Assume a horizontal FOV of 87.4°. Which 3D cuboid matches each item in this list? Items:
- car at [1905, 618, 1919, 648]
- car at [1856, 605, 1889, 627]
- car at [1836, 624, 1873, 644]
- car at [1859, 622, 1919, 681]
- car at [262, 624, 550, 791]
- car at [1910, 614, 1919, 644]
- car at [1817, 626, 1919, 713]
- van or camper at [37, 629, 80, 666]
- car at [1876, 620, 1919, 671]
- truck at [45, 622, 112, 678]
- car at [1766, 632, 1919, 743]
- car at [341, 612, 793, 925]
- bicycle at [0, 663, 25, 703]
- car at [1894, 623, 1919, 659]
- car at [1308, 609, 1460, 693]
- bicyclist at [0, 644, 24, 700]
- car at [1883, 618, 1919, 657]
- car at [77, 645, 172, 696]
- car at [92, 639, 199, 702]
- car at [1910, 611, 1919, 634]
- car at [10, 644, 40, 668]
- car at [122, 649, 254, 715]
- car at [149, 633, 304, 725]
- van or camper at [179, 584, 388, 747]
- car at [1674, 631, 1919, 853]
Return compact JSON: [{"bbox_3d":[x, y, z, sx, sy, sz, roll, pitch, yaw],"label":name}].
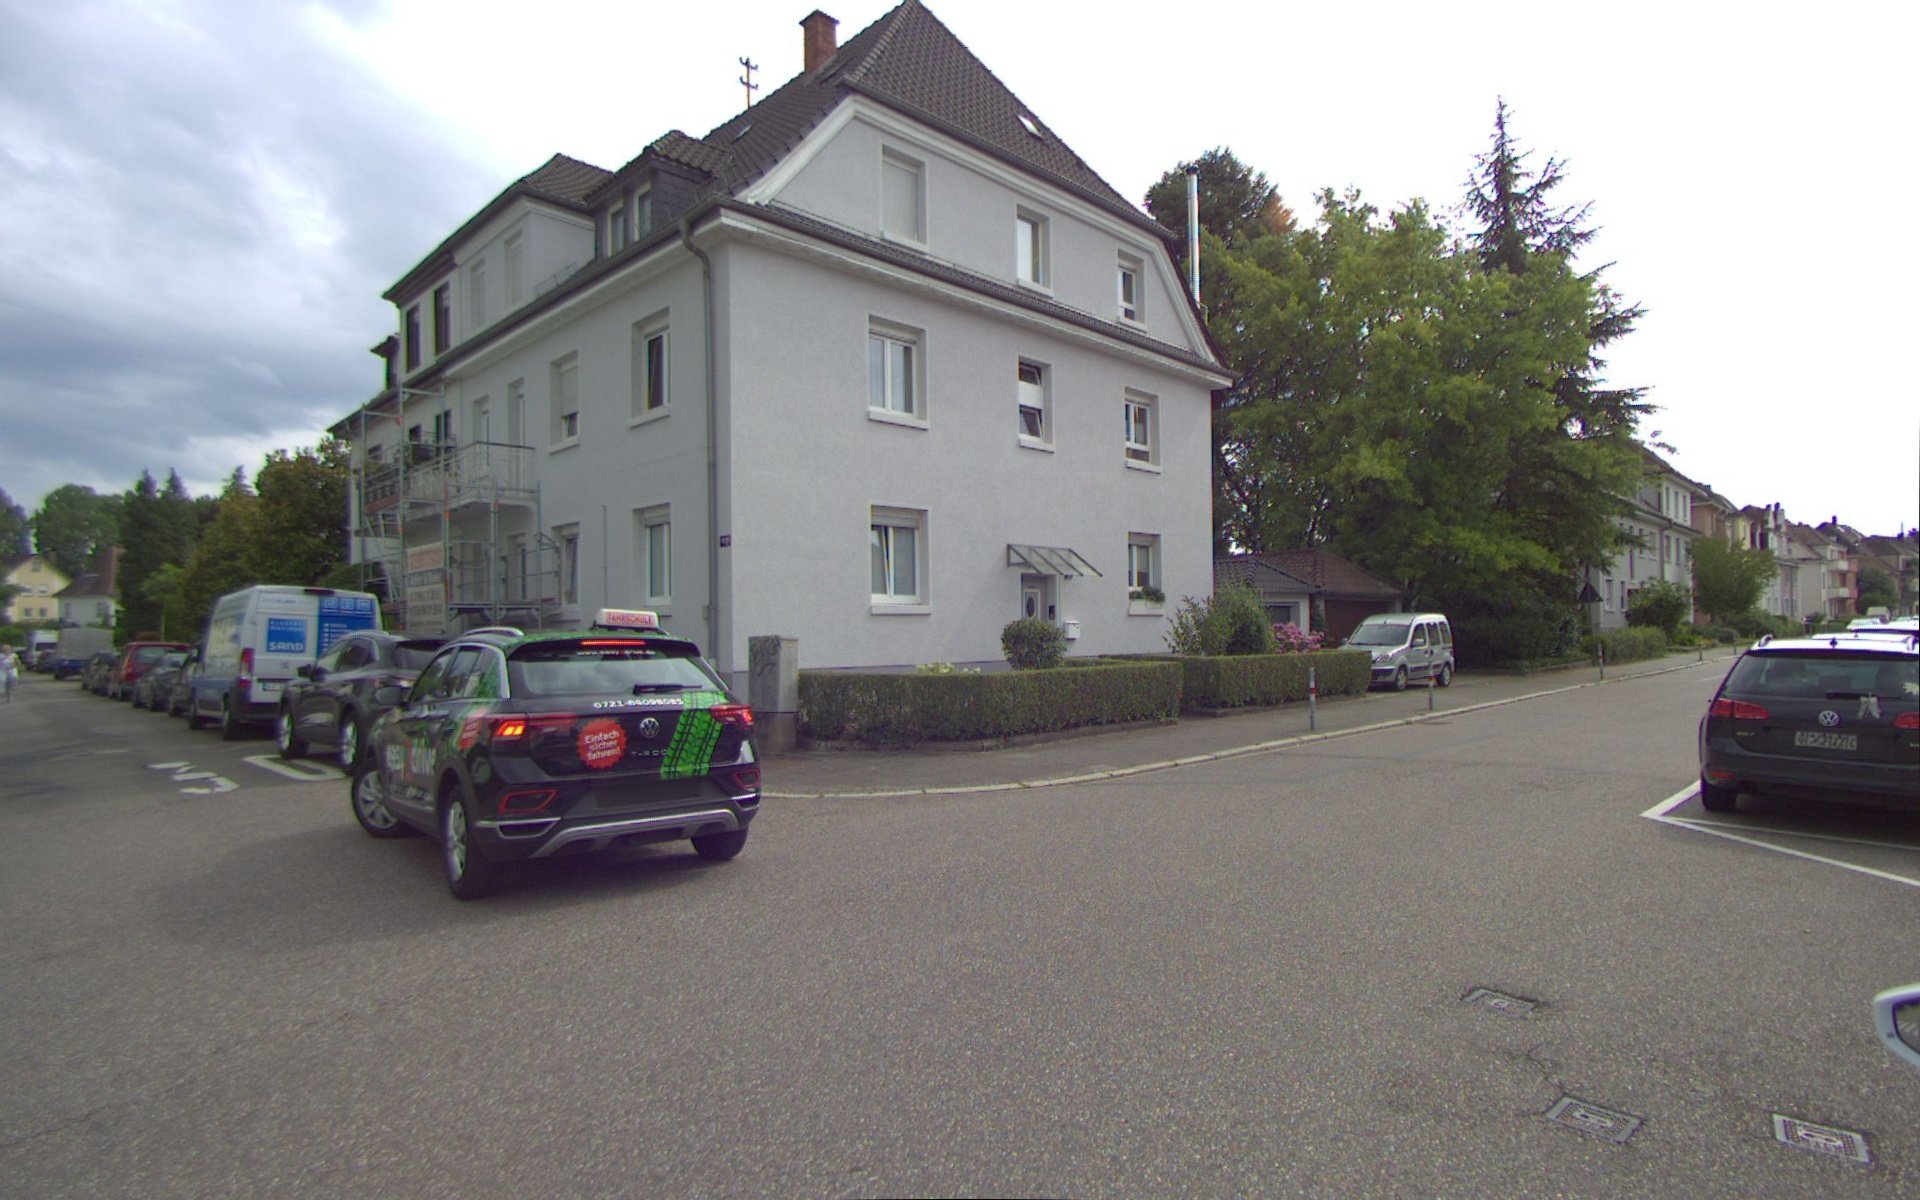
[{"bbox_3d":[50.267,1.667,51.905,4.146,1.491,1.836,1,-2,-44],"label":"car"},{"bbox_3d":[86.820,1.542,95.582,3.971,2.040,1.975,1,-2,-43],"label":"car"},{"bbox_3d":[78.003,2.977,87.580,3.969,1.661,1.976,1,-2,-42],"label":"car"},{"bbox_3d":[26.133,1.379,27.581,4.146,1.491,1.836,1,-2,-44],"label":"car"},{"bbox_3d":[-7.175,1.218,12.822,4.281,1.749,1.989,-2,-2,43],"label":"car"},{"bbox_3d":[54.253,1.590,55.847,4.146,1.599,1.836,1,-2,-44],"label":"car"},{"bbox_3d":[18.023,1.271,19.381,4.146,1.491,1.836,1,-2,-44],"label":"car"},{"bbox_3d":[-66.483,3.457,74.019,2.134,2.575,4.949,0,-2,-45],"label":"van or camper"},{"bbox_3d":[30.114,1.384,31.458,4.146,1.491,1.836,1,-2,-44],"label":"car"},{"bbox_3d":[-44.439,2.497,50.624,4.521,2.692,2.124,-2,-2,43],"label":"truck"},{"bbox_3d":[14.347,1.279,15.977,4.146,1.491,1.836,1,-2,-44],"label":"car"},{"bbox_3d":[-2.991,0.950,7.106,1.807,1.539,3.997,1,-4,-40],"label":"car"},{"bbox_3d":[-29.733,2.575,31.378,0.703,1.167,1.848,-1,-1,-45],"label":"bicycle"},{"bbox_3d":[41.579,1.738,43.204,4.146,1.491,1.836,1,-2,-44],"label":"car"},{"bbox_3d":[10.336,1.181,24.384,3.972,1.862,1.975,1,-2,-44],"label":"car"},{"bbox_3d":[-29.800,2.241,31.451,0.694,1.688,0.962,-1,-1,-44],"label":"bicyclist"},{"bbox_3d":[38.321,1.483,40.152,4.146,1.491,1.836,1,-2,-44],"label":"car"},{"bbox_3d":[-28.815,2.375,34.606,4.281,1.612,1.989,-2,-2,43],"label":"car"},{"bbox_3d":[-25.204,2.104,31.030,4.281,1.772,1.989,-2,-2,43],"label":"car"},{"bbox_3d":[67.096,1.552,69.546,1.835,1.599,4.148,-2,-2,45],"label":"car"},{"bbox_3d":[-82.153,4.918,88.266,1.850,2.040,3.952,0,-3,-42],"label":"car"},{"bbox_3d":[-19.725,2.013,25.602,4.281,1.474,1.989,-2,-2,43],"label":"car"},{"bbox_3d":[-16.182,1.642,22.094,4.281,1.795,1.989,-2,-2,43],"label":"car"},{"bbox_3d":[-12.156,1.079,17.895,4.987,2.491,2.185,-2,-2,45],"label":"van or camper"},{"bbox_3d":[7.678,1.045,8.836,1.833,1.491,4.153,-2,-2,41],"label":"car"}]
